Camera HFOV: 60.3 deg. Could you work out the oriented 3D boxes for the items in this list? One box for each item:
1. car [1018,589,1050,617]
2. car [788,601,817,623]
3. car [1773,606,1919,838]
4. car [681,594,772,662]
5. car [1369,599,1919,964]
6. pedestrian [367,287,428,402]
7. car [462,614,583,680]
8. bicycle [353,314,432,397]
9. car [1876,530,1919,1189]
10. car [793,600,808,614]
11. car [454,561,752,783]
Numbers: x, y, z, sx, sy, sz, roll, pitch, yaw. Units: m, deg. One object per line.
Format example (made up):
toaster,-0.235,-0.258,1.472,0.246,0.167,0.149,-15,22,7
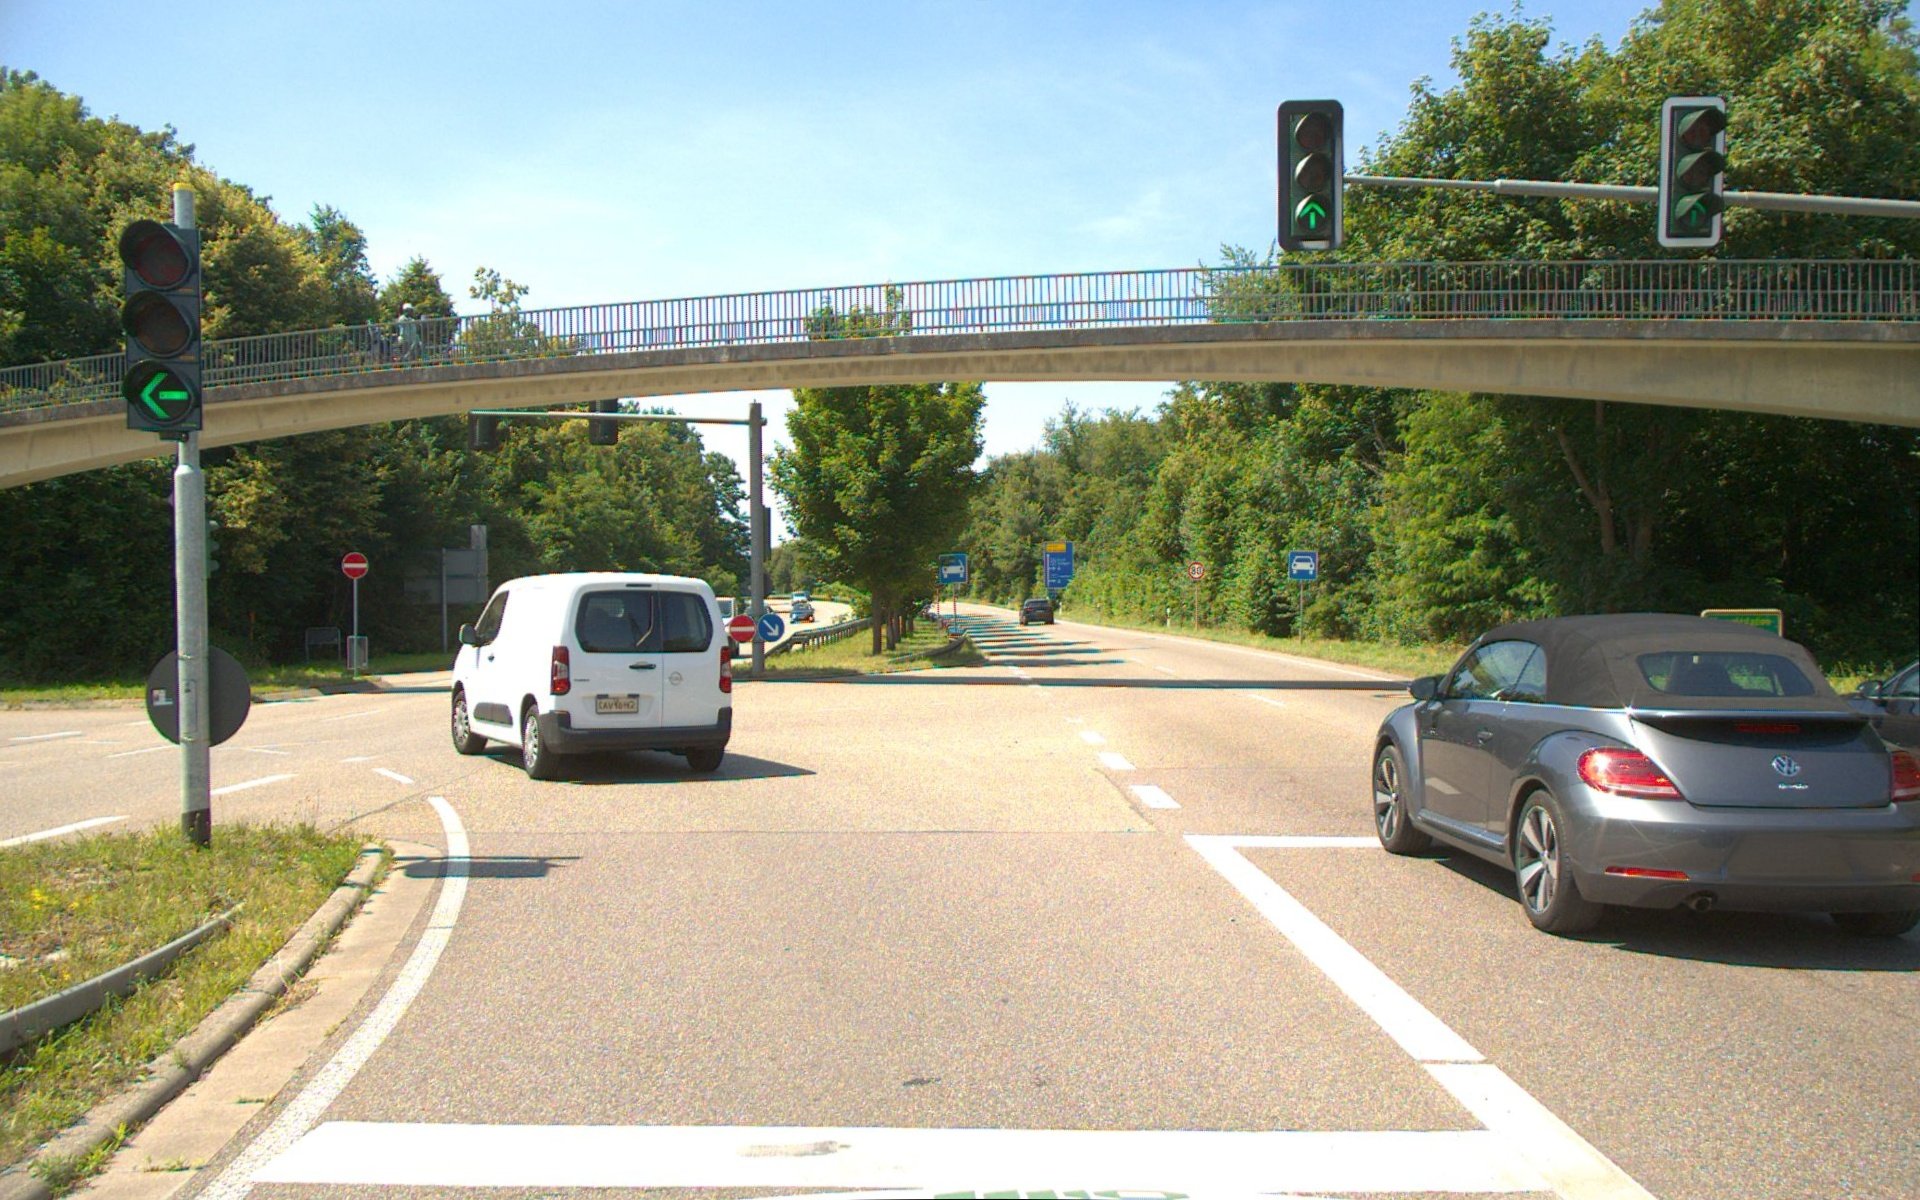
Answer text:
car,4.787,0.167,107.413,1.999,1.728,5.088,-1,0,2
car,-12.551,0.931,132.011,1.967,1.629,4.055,-2,0,0
car,7.177,0.806,10.502,1.861,1.503,4.380,1,0,0
car,-7.542,0.891,53.980,2.163,2.028,5.487,-2,0,0
car,3.626,0.762,8.868,1.861,1.503,3.938,1,0,0
pedestrian,-11.750,-5.320,34.551,0.765,2.177,0.932,-3,-2,15
car,-11.025,1.149,41.946,1.967,1.486,4.055,-2,0,0
bicycle,-11.717,-5.037,34.148,1.494,1.500,0.470,-3,-2,16
car,3.420,0.670,2.167,1.862,1.673,4.519,1,0,-1
car,-21.527,0.940,223.095,1.955,1.780,3.994,1,-1,-6
car,-3.571,0.630,16.012,1.828,1.857,3.944,1,-1,-28
